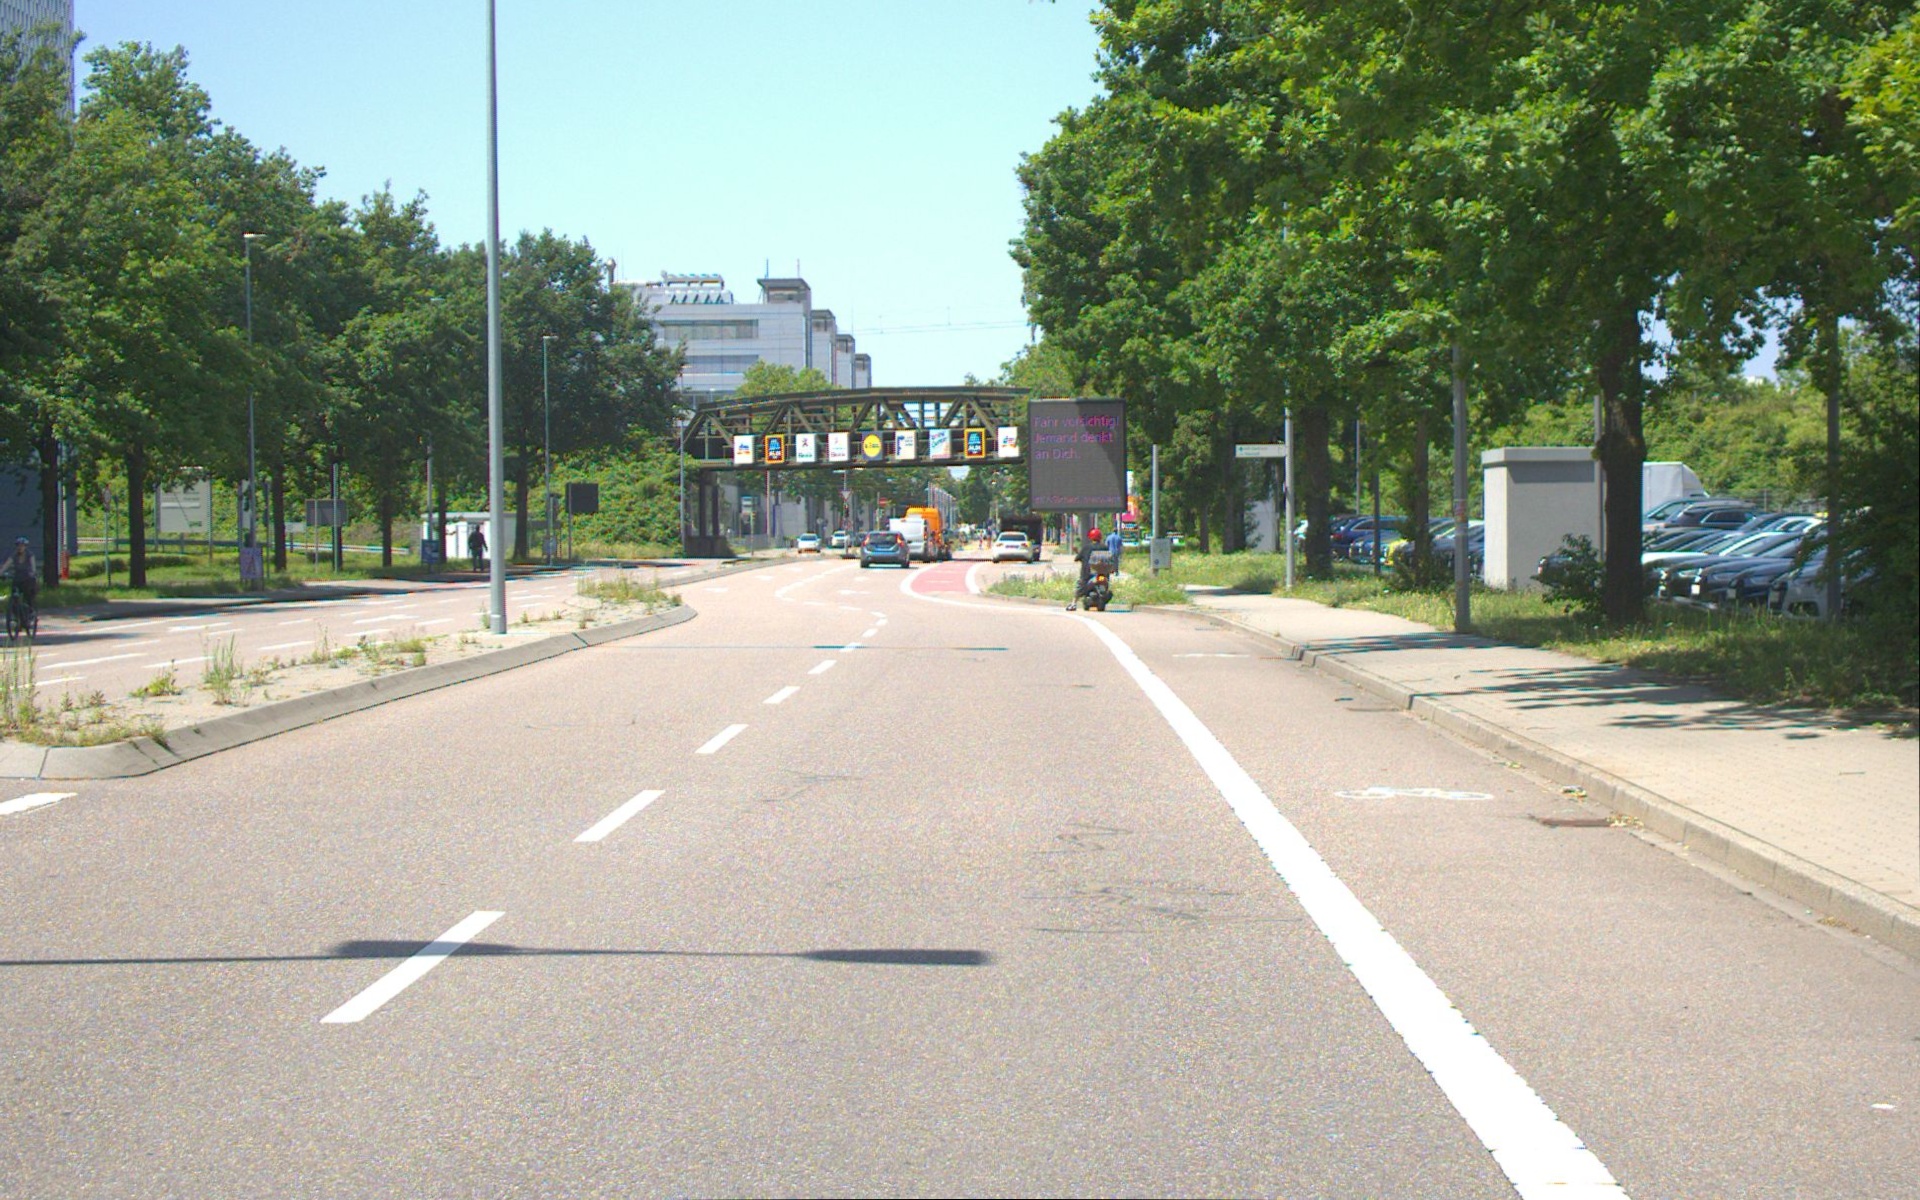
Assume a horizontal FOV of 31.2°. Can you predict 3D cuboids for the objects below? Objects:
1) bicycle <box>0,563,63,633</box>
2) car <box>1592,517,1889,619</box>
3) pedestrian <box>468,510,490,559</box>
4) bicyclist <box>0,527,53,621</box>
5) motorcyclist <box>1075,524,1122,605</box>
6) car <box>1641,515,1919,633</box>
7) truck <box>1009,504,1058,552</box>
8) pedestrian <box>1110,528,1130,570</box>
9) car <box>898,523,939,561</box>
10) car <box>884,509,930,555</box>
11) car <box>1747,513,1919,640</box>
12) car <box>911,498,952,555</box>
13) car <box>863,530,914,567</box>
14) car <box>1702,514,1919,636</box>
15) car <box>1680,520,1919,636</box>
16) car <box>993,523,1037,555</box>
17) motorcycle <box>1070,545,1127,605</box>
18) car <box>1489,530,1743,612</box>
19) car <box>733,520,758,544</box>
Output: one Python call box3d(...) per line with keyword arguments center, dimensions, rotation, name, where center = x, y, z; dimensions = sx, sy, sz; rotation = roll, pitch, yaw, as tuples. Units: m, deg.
box3d(center=(-16.489, -0.044, 60.809), dimensions=(0.629, 1.155, 2.117), rotation=(-2, 1, 0), name="bicycle")
box3d(center=(12.376, -0.527, 54.677), dimensions=(4.221, 1.337, 1.917), rotation=(4, 1, 1), name="car")
box3d(center=(-18.681, -2.543, 133.434), dimensions=(0.743, 1.877, 0.577), rotation=(0, 1, 1), name="pedestrian")
box3d(center=(-16.505, -0.462, 60.688), dimensions=(0.633, 1.623, 1.045), rotation=(-2, 1, 0), name="bicyclist")
box3d(center=(2.637, -0.686, 65.570), dimensions=(0.719, 1.524, 0.871), rotation=(1, 1, -9), name="motorcyclist")
box3d(center=(12.074, -0.364, 49.386), dimensions=(4.130, 1.376, 1.779), rotation=(5, 1, 1), name="car")
box3d(center=(3.827, -3.813, 180.044), dimensions=(2.458, 2.402, 7.134), rotation=(2, 2, 1), name="truck")
box3d(center=(5.221, -1.656, 112.214), dimensions=(0.623, 1.370, 0.564), rotation=(0, 1, -1), name="pedestrian")
box3d(center=(-2.008, -2.835, 167.511), dimensions=(1.895, 1.809, 4.000), rotation=(0, 2, 0), name="car")
box3d(center=(-2.344, -3.033, 153.291), dimensions=(1.993, 2.007, 4.000), rotation=(1, 1, 0), name="car")
box3d(center=(11.912, -0.216, 41.687), dimensions=(4.221, 1.402, 1.917), rotation=(4, 1, 1), name="car")
box3d(center=(-1.438, -3.794, 176.823), dimensions=(2.073, 2.844, 6.765), rotation=(0, 1, 0), name="car")
box3d(center=(-2.768, -2.022, 134.330), dimensions=(1.900, 1.371, 4.232), rotation=(0, 1, 0), name="car")
box3d(center=(11.893, -0.283, 44.210), dimensions=(4.221, 1.402, 1.917), rotation=(3, 1, 1), name="car")
box3d(center=(12.120, -0.272, 46.656), dimensions=(4.221, 1.365, 1.988), rotation=(4, 1, 1), name="car")
box3d(center=(2.490, -2.764, 155.870), dimensions=(1.924, 1.415, 4.000), rotation=(0, 1, 0), name="car")
box3d(center=(2.637, -0.487, 65.543), dimensions=(0.716, 1.101, 1.831), rotation=(1, 1, -9), name="motorcycle")
box3d(center=(11.851, -0.538, 62.283), dimensions=(4.221, 1.337, 1.917), rotation=(2, 1, 1), name="car")
box3d(center=(-15.693, -4.980, 251.603), dimensions=(1.715, 1.726, 3.807), rotation=(0, 1, -2), name="car")
